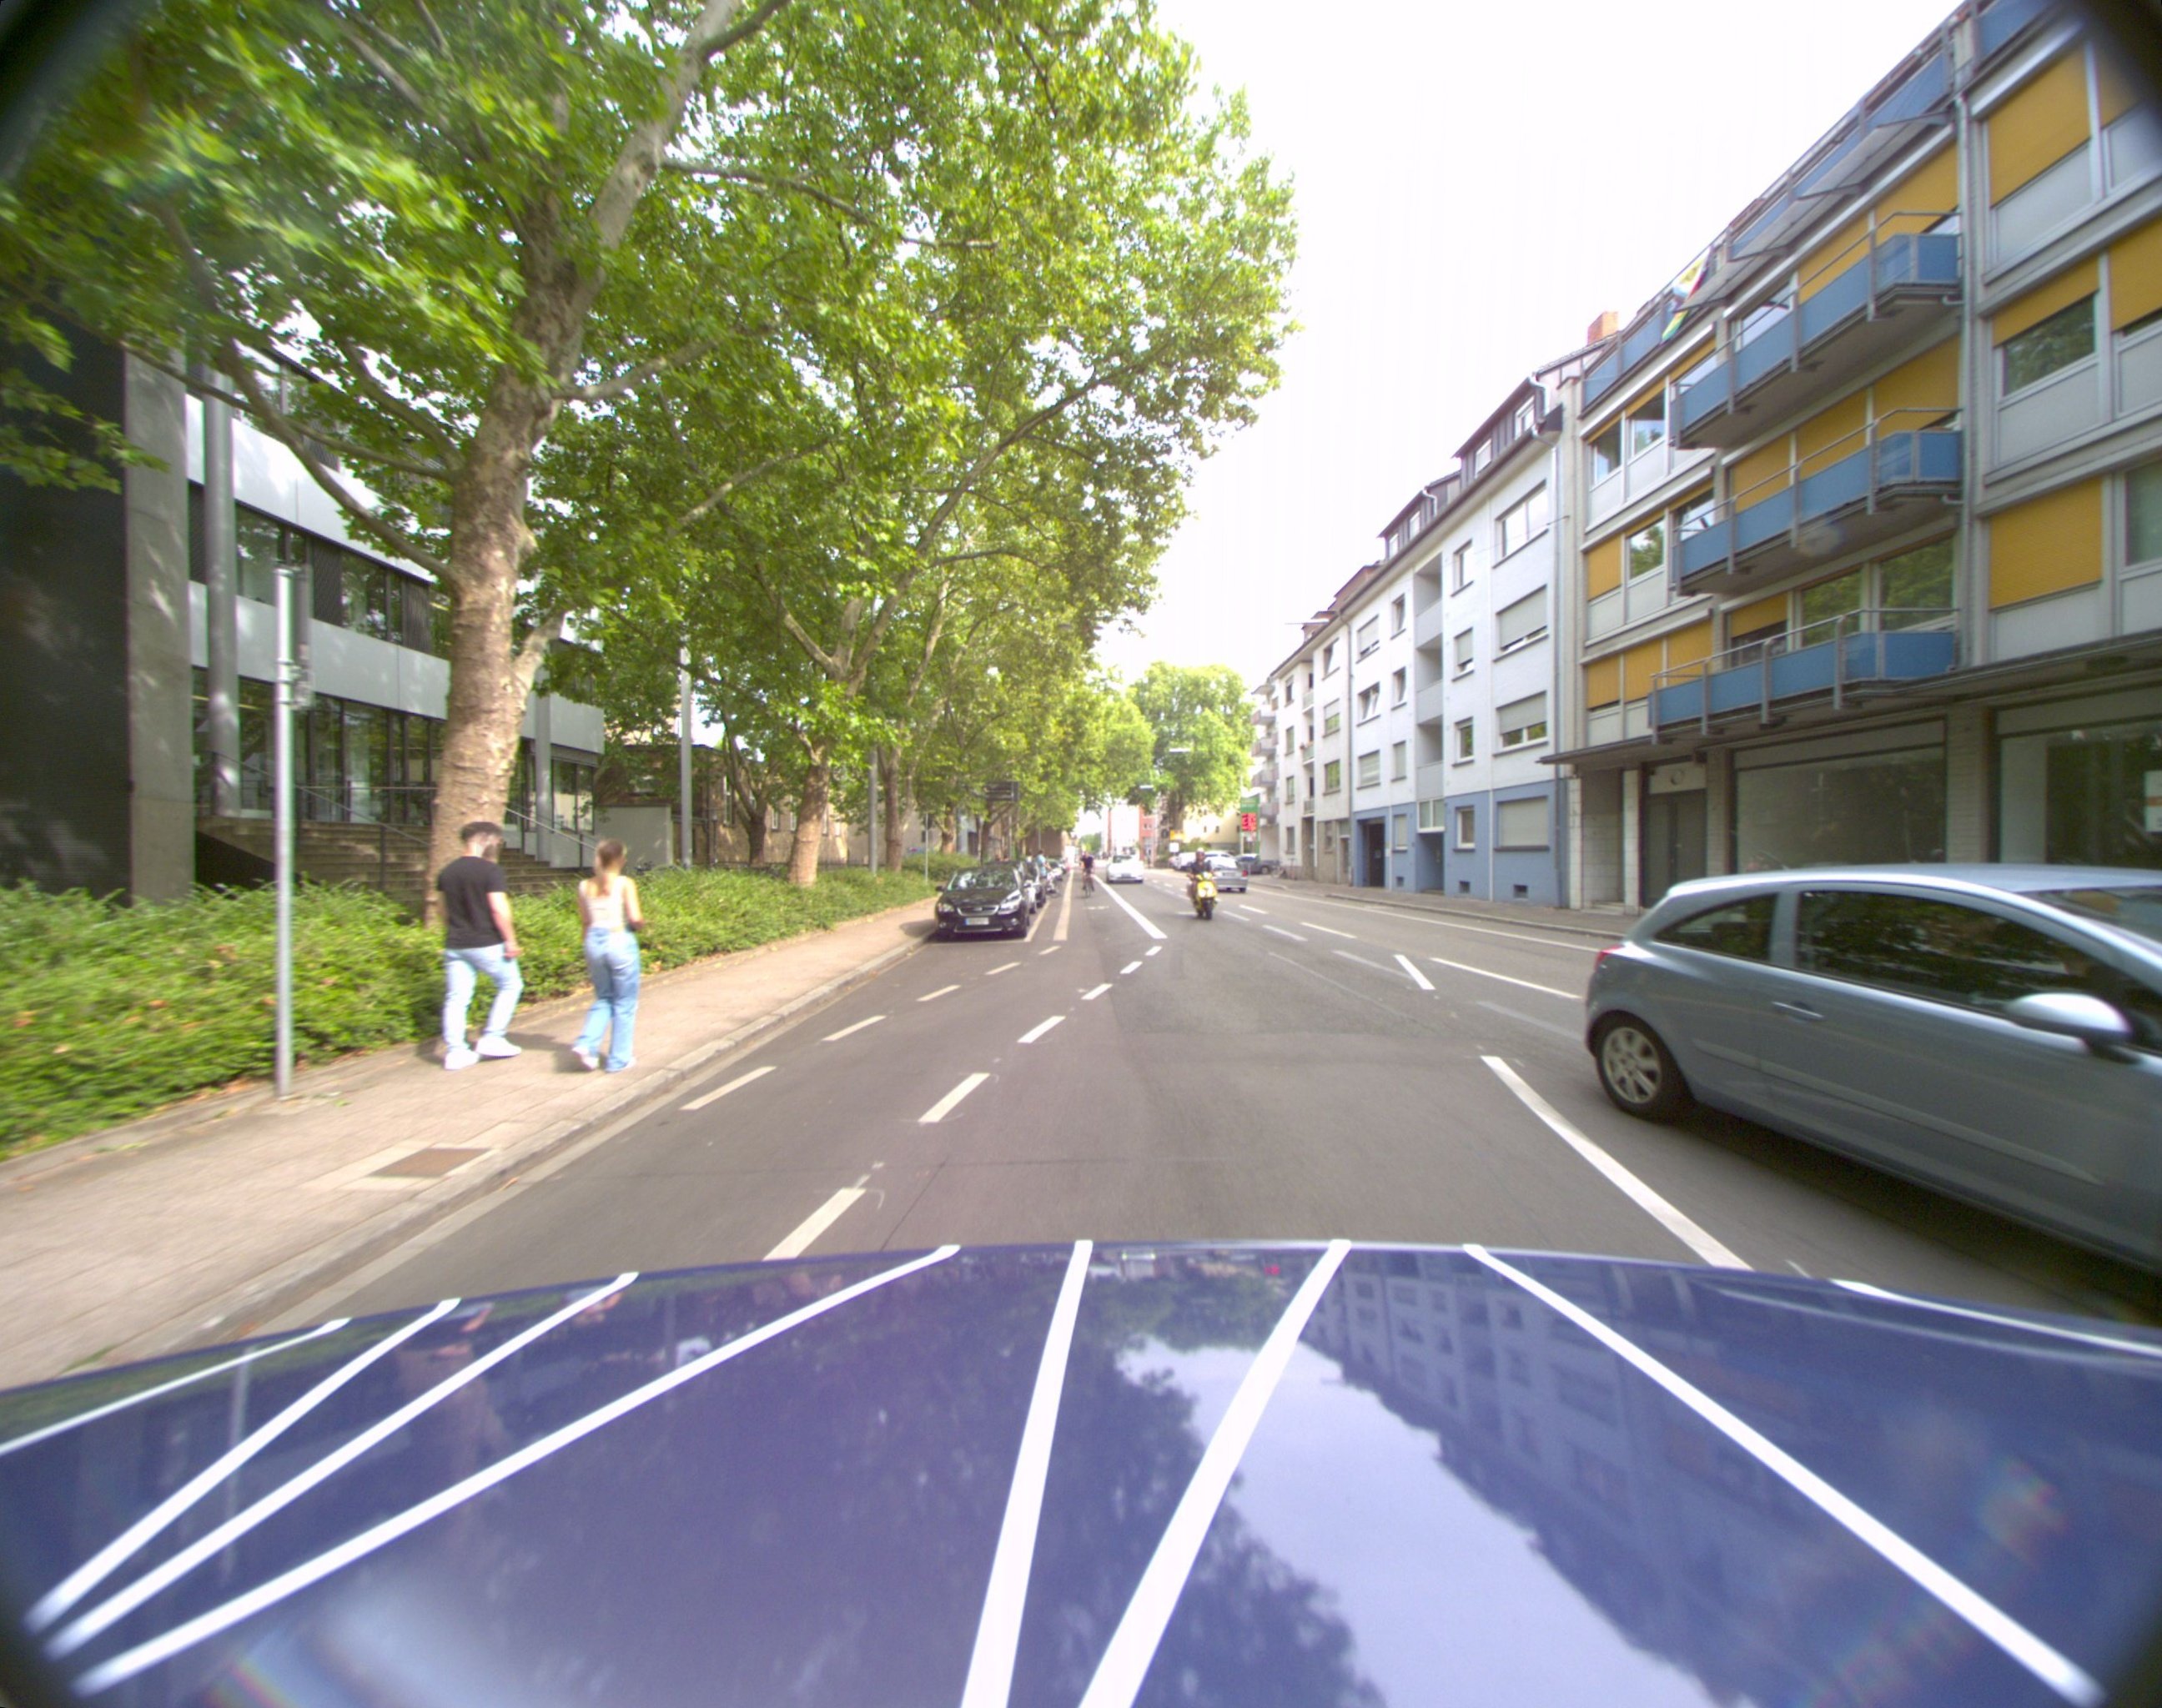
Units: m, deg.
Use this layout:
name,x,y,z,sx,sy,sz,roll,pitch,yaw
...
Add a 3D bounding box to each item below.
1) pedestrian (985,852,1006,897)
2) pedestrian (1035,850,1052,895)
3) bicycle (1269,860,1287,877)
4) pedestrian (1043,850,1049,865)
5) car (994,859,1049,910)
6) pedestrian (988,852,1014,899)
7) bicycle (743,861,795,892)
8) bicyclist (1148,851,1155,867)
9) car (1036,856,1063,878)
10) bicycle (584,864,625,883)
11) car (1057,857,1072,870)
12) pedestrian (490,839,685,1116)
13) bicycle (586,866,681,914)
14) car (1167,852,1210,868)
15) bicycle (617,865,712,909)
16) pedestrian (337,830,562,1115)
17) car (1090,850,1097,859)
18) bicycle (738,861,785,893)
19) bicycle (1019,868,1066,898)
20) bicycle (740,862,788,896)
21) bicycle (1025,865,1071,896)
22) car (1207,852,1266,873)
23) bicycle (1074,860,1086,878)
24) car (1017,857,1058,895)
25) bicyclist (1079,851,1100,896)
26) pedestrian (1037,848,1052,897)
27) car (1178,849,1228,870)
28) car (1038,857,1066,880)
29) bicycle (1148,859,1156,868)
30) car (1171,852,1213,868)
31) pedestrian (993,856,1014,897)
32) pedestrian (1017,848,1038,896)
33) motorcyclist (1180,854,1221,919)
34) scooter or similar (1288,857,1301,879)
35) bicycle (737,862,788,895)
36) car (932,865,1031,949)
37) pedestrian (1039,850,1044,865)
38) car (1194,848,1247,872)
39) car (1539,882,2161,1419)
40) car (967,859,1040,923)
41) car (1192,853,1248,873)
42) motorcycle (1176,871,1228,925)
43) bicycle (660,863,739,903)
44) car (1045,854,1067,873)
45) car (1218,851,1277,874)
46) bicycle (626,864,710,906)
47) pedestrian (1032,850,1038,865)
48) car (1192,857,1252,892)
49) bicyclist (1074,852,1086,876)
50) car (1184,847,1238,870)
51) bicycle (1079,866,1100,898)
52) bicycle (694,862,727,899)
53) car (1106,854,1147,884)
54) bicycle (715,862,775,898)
name,x,y,z,sx,sy,sz,roll,pitch,yaw
pedestrian,-3.595,0.850,31.966,0.723,1.844,0.703,-2,1,-1
pedestrian,-1.562,0.769,31.597,0.522,1.834,0.743,-2,1,-15
bicycle,11.705,0.872,45.133,0.598,0.945,1.662,-1,0,0
pedestrian,-4.211,0.450,91.916,0.592,1.775,0.476,3,1,-1
car,-1.933,0.960,25.564,1.532,1.493,3.659,-2,0,0
pedestrian,-3.167,0.832,30.135,0.873,1.806,0.780,-2,1,-1
bicycle,-11.471,0.823,27.959,1.679,1.111,0.604,1,0,-7
bicyclist,8.264,0.602,88.904,0.653,1.800,1.045,-1,1,-1
car,-2.259,0.944,55.964,1.759,1.438,4.218,-2,0,0
bicycle,-22.716,0.911,36.222,1.623,0.873,0.508,0,3,4
car,-1.908,1.063,90.215,1.603,1.438,4.104,-2,0,0
pedestrian,-3.440,0.794,5.397,0.712,1.773,1.033,1,1,-2
bicycle,-10.875,0.861,18.499,1.920,1.111,0.673,1,0,-1
car,12.238,0.682,86.701,4.530,1.596,1.754,-3,0,1
bicycle,-10.858,0.849,19.835,2.084,1.111,0.673,1,0,-1
pedestrian,-4.343,0.749,5.316,0.717,1.789,1.033,1,1,-2
car,3.765,0.193,234.388,1.998,2.546,4.798,-1,0,0
bicycle,-11.308,0.826,26.937,1.449,1.111,0.468,1,1,-3
bicycle,-1.526,1.151,30.057,1.740,1.099,0.552,-2,1,-11
bicycle,-10.601,0.827,25.416,1.382,1.111,0.468,1,1,-8
bicycle,-1.374,1.080,31.341,1.796,1.210,0.552,-2,1,-18
car,12.449,0.689,61.104,4.311,1.442,1.910,-3,0,0
bicycle,-0.086,1.014,51.660,0.763,1.162,1.949,-1,0,0
car,-1.961,0.958,34.887,1.685,1.507,4.543,-3,0,-3
bicyclist,0.343,0.755,29.963,0.764,1.698,0.917,-1,1,0
pedestrian,-1.462,0.734,30.323,0.476,1.923,0.744,-2,1,-11
car,12.057,0.509,75.257,4.627,1.848,1.950,-3,0,1
car,-1.978,0.956,51.480,1.647,1.438,3.881,-2,0,-5
bicycle,8.276,1.099,88.940,0.647,1.008,2.076,-1,1,-1
car,12.331,0.695,84.387,4.373,1.540,1.732,-3,0,1
pedestrian,-3.149,0.899,30.914,0.723,1.648,0.655,-2,1,-1
pedestrian,-2.262,0.755,32.076,0.795,1.986,0.750,-2,1,-1
motorcyclist,2.999,0.798,19.110,0.904,1.608,0.691,-1,1,0
scooter or similar,11.905,0.756,42.428,0.350,1.214,1.202,-1,0,0
bicycle,-10.835,0.827,25.858,1.544,1.111,0.468,1,1,-8
car,-1.998,1.020,16.329,1.702,1.417,4.420,-2,0,-3
pedestrian,-4.825,0.458,91.896,0.502,1.775,0.527,3,1,-1
car,12.104,0.494,66.087,4.222,1.837,1.924,-3,0,0
car,3.934,0.909,2.867,1.717,1.412,4.252,-1,0,-2
car,-2.025,0.948,20.393,1.539,1.534,2.599,-2,0,2
car,11.546,0.724,63.487,4.282,1.442,1.874,-3,0,0
motorcycle,2.996,1.063,19.109,0.904,1.190,2.630,-1,0,0
bicycle,-10.982,0.833,21.899,1.920,1.111,0.673,1,0,-1
car,-2.294,0.803,69.789,1.926,1.612,4.480,-2,0,-2
car,12.841,0.647,58.801,4.161,1.504,1.837,-3,0,0
bicycle,-11.324,0.850,20.874,1.920,1.111,0.673,1,0,-1
pedestrian,-5.603,0.418,92.146,0.644,1.823,0.645,3,1,-1
car,6.139,0.854,33.451,1.762,1.419,4.098,1,0,-1
bicyclist,-0.085,0.652,51.664,0.749,1.590,0.819,-1,0,0
car,12.465,0.452,72.861,4.779,1.923,1.994,-3,0,1
bicycle,0.341,1.075,29.897,0.763,1.162,1.949,-1,0,0
bicycle,-11.857,0.838,24.338,0.492,1.111,1.437,1,0,-6
car,2.547,0.808,43.536,2.000,1.556,4.550,-1,0,-1
bicycle,-10.687,0.822,24.228,1.701,1.111,0.622,1,0,-19
